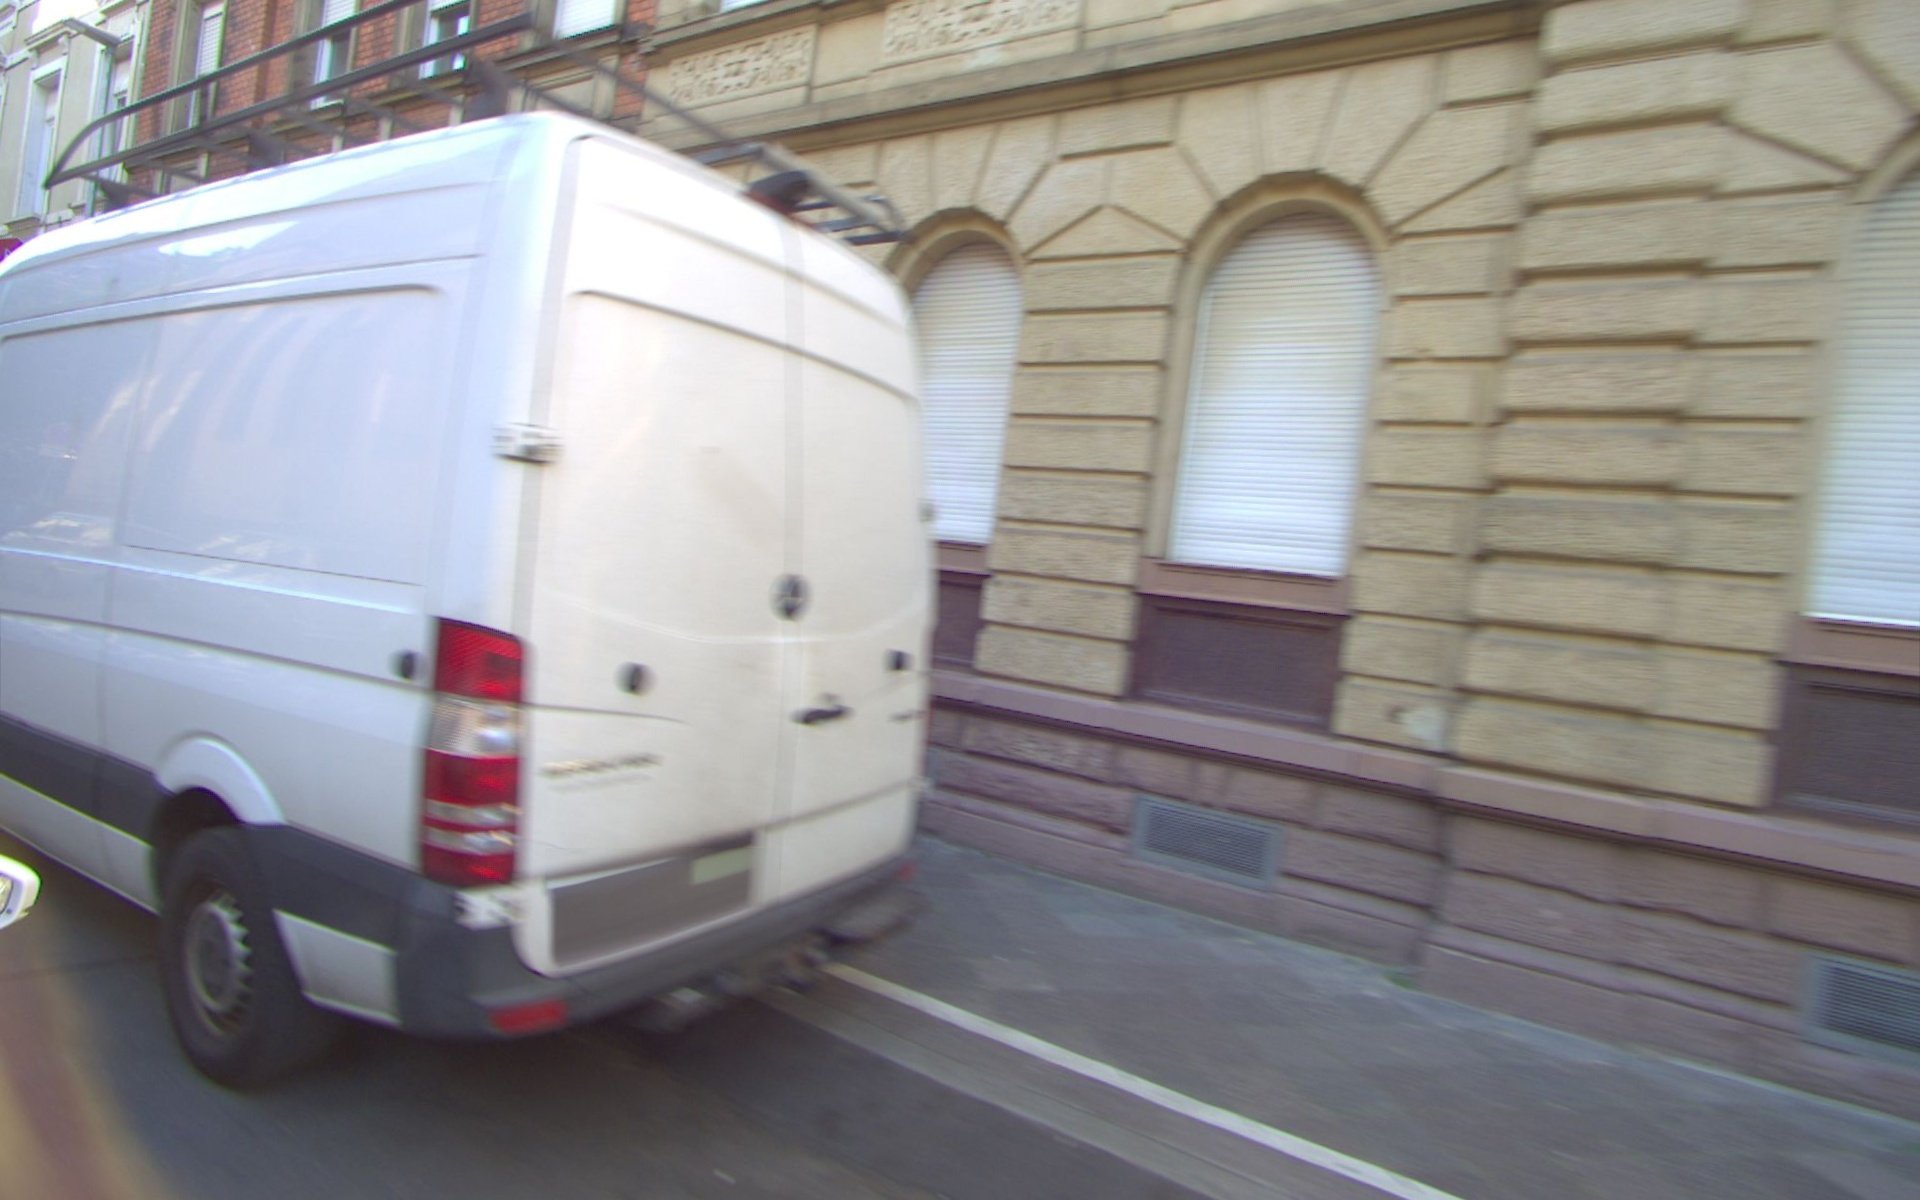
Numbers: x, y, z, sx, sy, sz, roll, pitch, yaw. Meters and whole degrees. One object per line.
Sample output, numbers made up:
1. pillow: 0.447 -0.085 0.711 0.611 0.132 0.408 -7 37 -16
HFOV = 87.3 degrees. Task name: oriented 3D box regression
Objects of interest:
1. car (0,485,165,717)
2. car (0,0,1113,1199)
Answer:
1. car: -8.116 -0.227 7.650 4.287 1.503 1.783 7 -2 32
2. car: -2.589 -0.153 4.275 5.790 2.642 2.071 8 0 32
